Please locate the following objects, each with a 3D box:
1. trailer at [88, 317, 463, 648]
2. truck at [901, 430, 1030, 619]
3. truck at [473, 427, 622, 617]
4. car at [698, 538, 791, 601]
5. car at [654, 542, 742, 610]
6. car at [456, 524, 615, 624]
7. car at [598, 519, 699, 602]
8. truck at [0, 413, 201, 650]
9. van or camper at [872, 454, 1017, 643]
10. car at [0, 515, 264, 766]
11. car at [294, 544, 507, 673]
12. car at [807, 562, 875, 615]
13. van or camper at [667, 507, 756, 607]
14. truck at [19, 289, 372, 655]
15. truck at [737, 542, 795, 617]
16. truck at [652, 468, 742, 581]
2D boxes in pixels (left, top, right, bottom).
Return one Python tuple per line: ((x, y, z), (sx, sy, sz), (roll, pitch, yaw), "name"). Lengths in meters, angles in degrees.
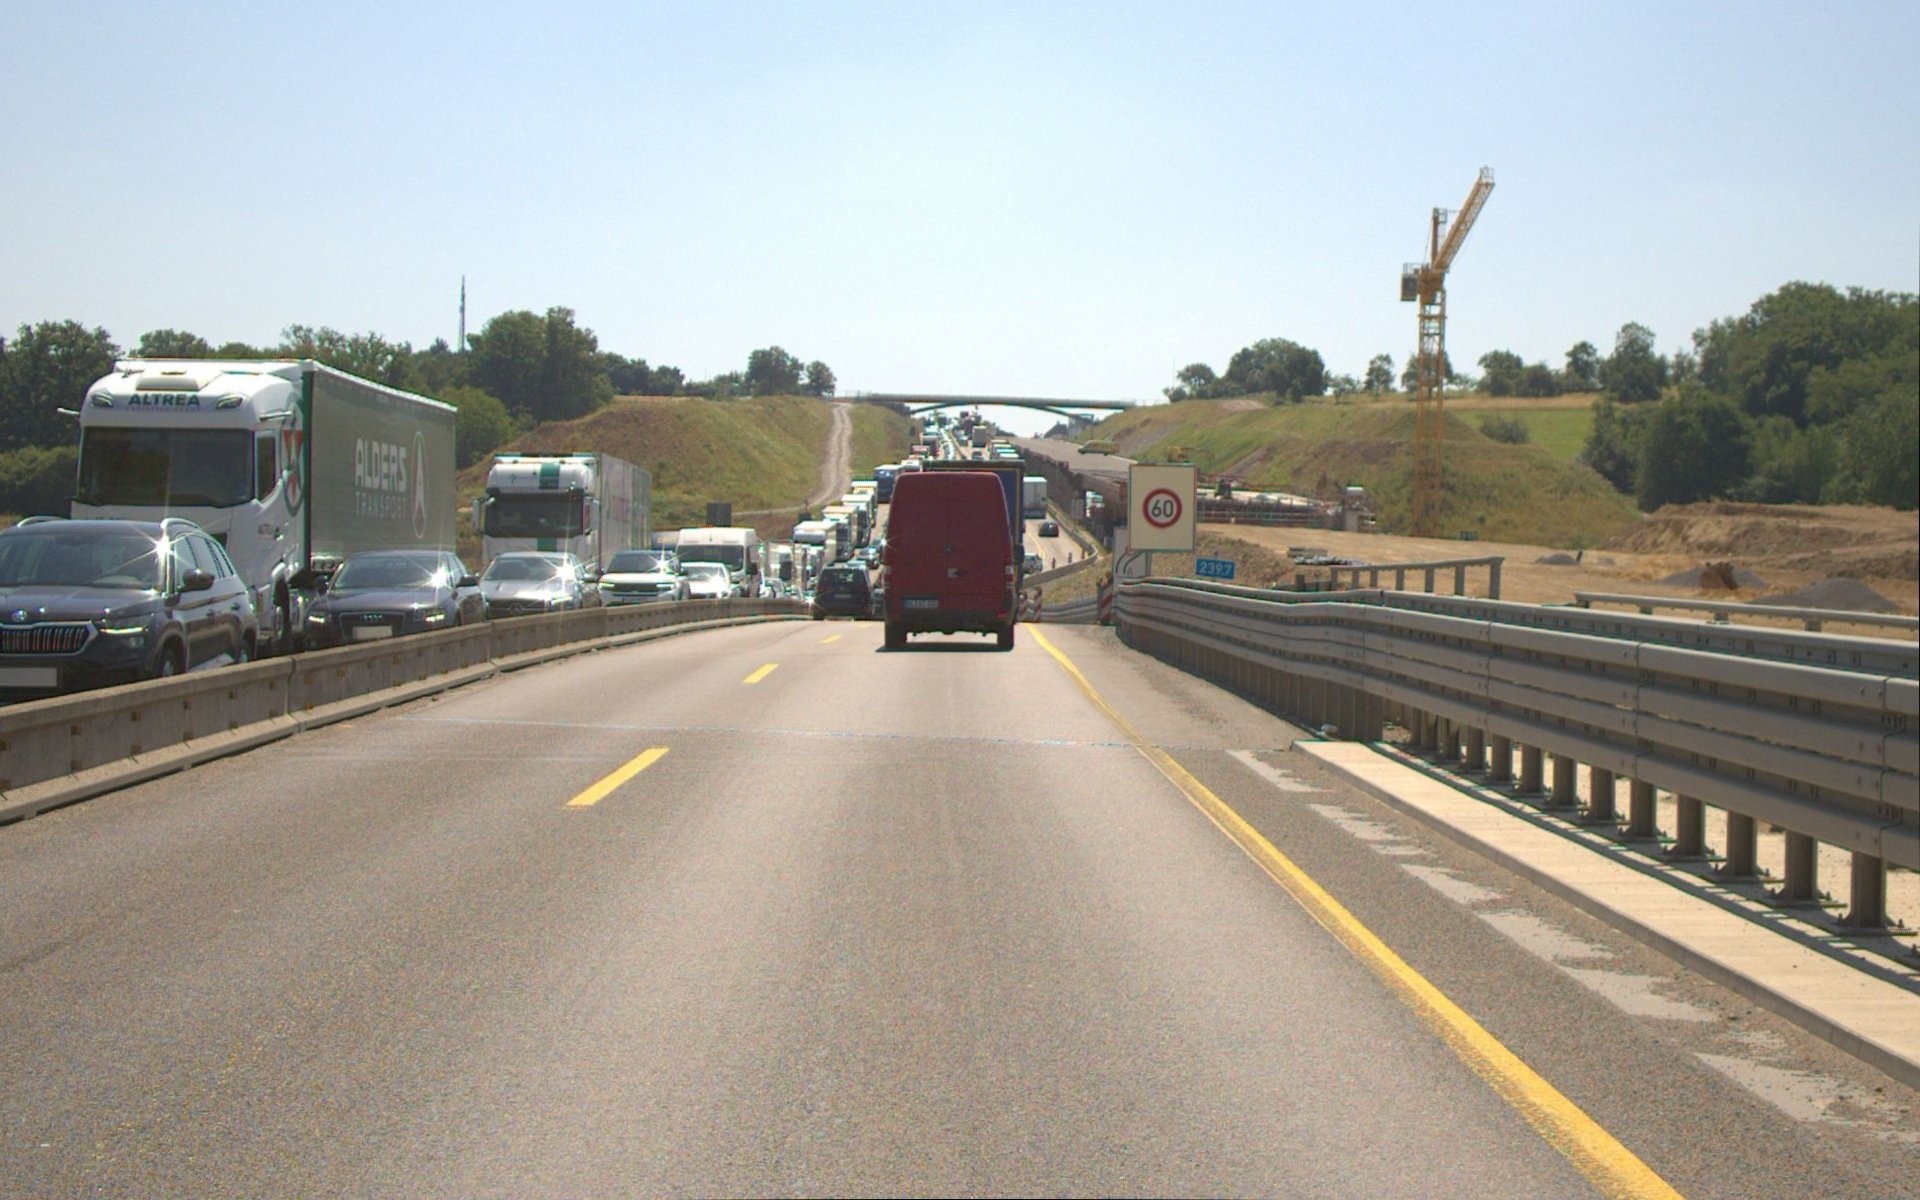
((-10.183, -1.699, 52.915), (3.102, 4.449, 13.020), (0, 1, 0), "trailer")
((0.080, -1.953, 89.612), (3.020, 4.677, 6.933), (-1, 1, -2), "truck")
((-9.871, -1.857, 82.816), (2.806, 4.377, 6.225), (0, 1, 0), "truck")
((-6.515, -0.949, 104.407), (2.371, 1.720, 5.781), (3, 1, 0), "car")
((-6.288, -0.598, 82.561), (1.993, 1.493, 4.976), (2, 1, -4), "car")
((-6.678, -0.435, 54.472), (1.865, 1.454, 4.607), (2, 1, 0), "car")
((-6.584, -0.856, 73.033), (1.756, 1.641, 4.156), (2, 1, -1), "car")
((-15.505, -1.209, 59.185), (2.904, 3.752, 8.368), (2, 1, 0), "truck")
((-0.285, -0.785, 52.620), (2.029, 2.735, 4.516), (1, 1, -2), "van or camper")
((-6.656, 0.224, 26.018), (1.847, 1.682, 4.619), (2, 1, -1), "car")
((-6.750, 0.060, 41.896), (1.777, 1.415, 4.538), (2, 1, 0), "car")
((-3.581, -0.365, 103.845), (2.012, 1.540, 4.133), (1, 1, -2), "car")
((-6.623, -1.155, 91.641), (2.218, 2.503, 6.534), (2, 1, -4), "van or camper")
((-10.139, -1.651, 46.389), (3.078, 4.521, 7.103), (1, 1, 1), "truck")
((-11.050, -1.143, 195.280), (2.976, 4.170, 5.875), (1, 0, -5), "truck")
((-10.086, -2.872, 132.520), (2.802, 4.138, 10.080), (2, 1, -1), "truck")
